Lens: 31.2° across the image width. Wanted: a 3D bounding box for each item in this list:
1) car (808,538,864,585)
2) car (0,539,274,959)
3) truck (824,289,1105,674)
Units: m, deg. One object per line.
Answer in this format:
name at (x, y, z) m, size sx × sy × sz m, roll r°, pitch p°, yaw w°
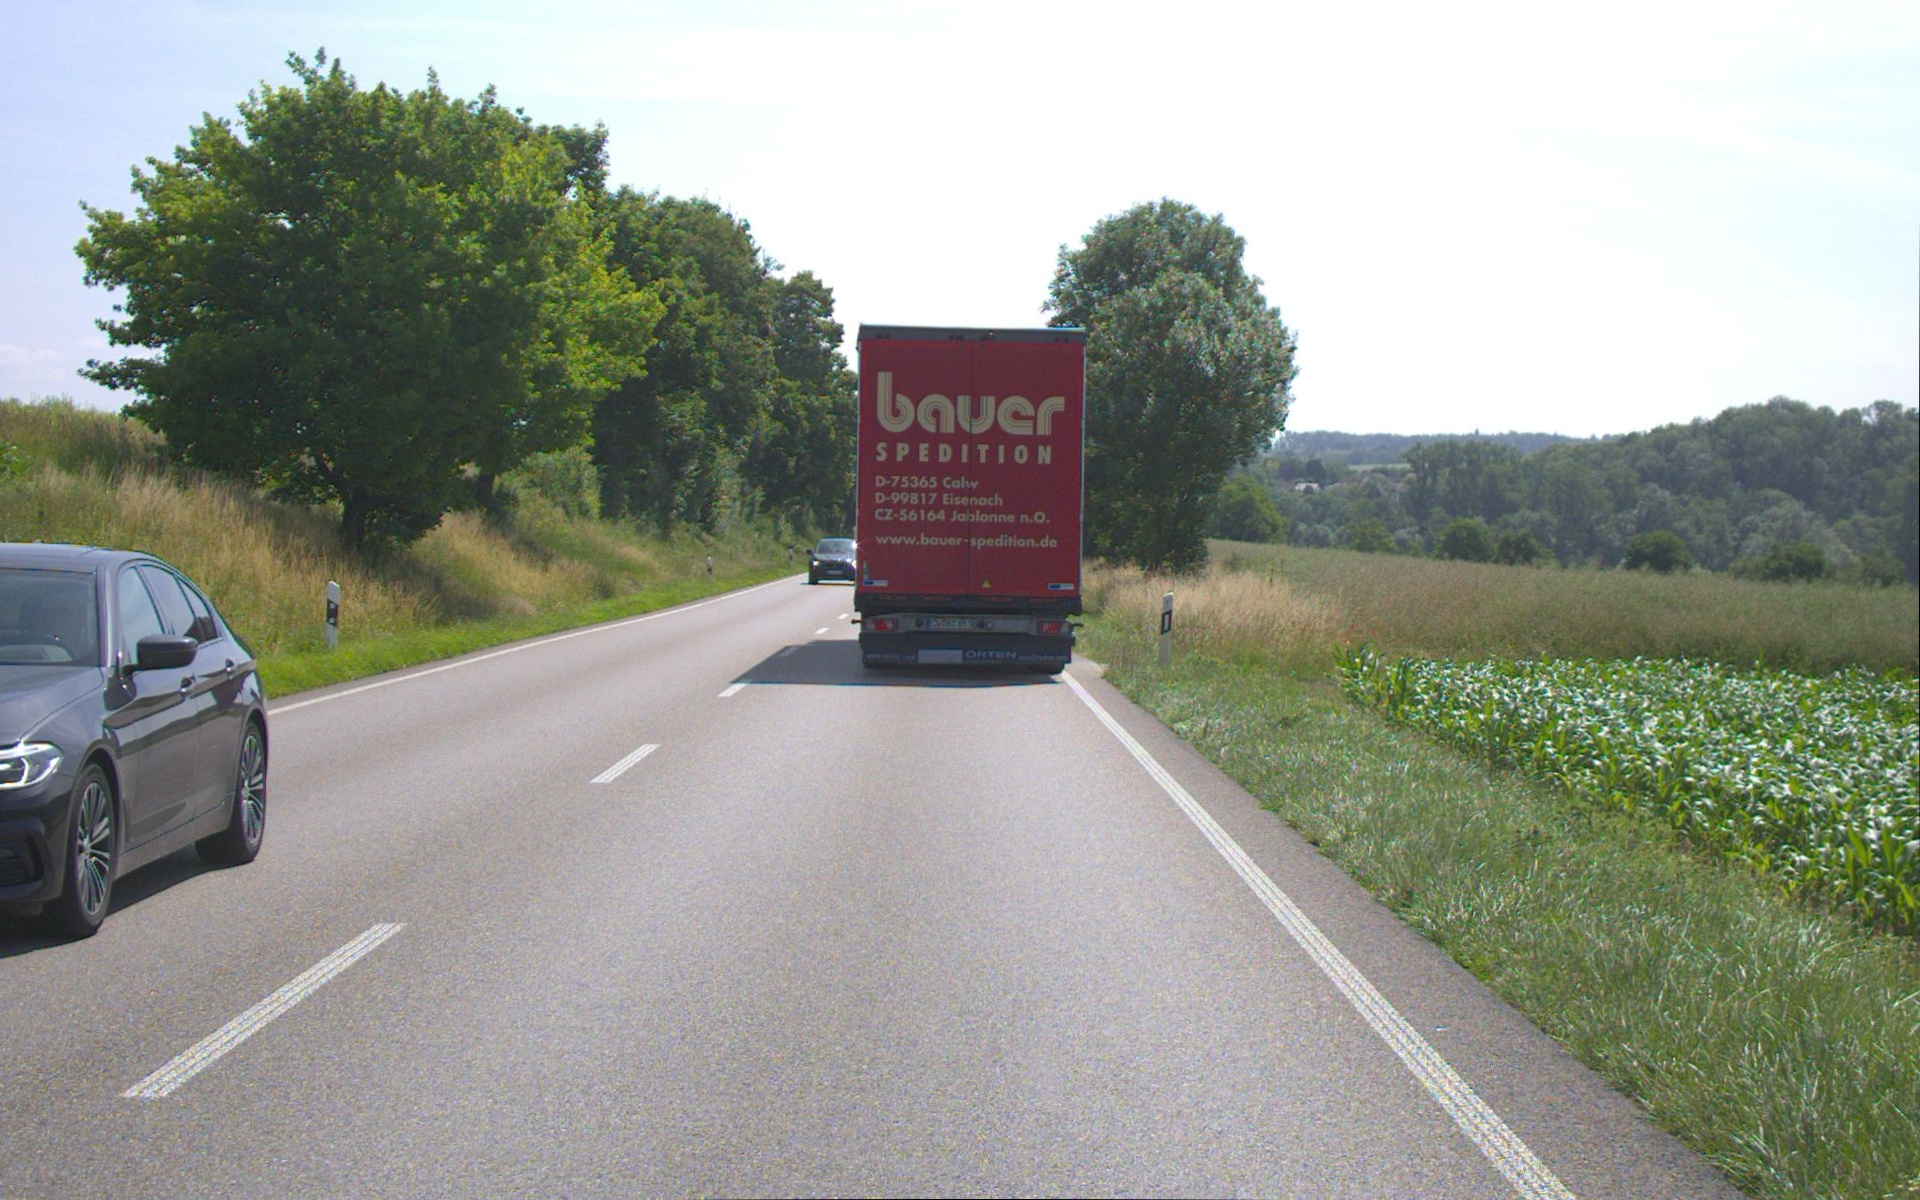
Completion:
car at (-4.127, -1.284, 114.709) m, size 1.656 × 1.529 × 4.358 m, roll 1°, pitch 1°, yaw 0°
car at (-4.108, 0.485, 14.259) m, size 1.673 × 1.452 × 4.351 m, roll 0°, pitch 1°, yaw 0°
truck at (0.177, -1.335, 42.118) m, size 3.094 × 4.248 × 8.314 m, roll 0°, pitch 0°, yaw 2°
